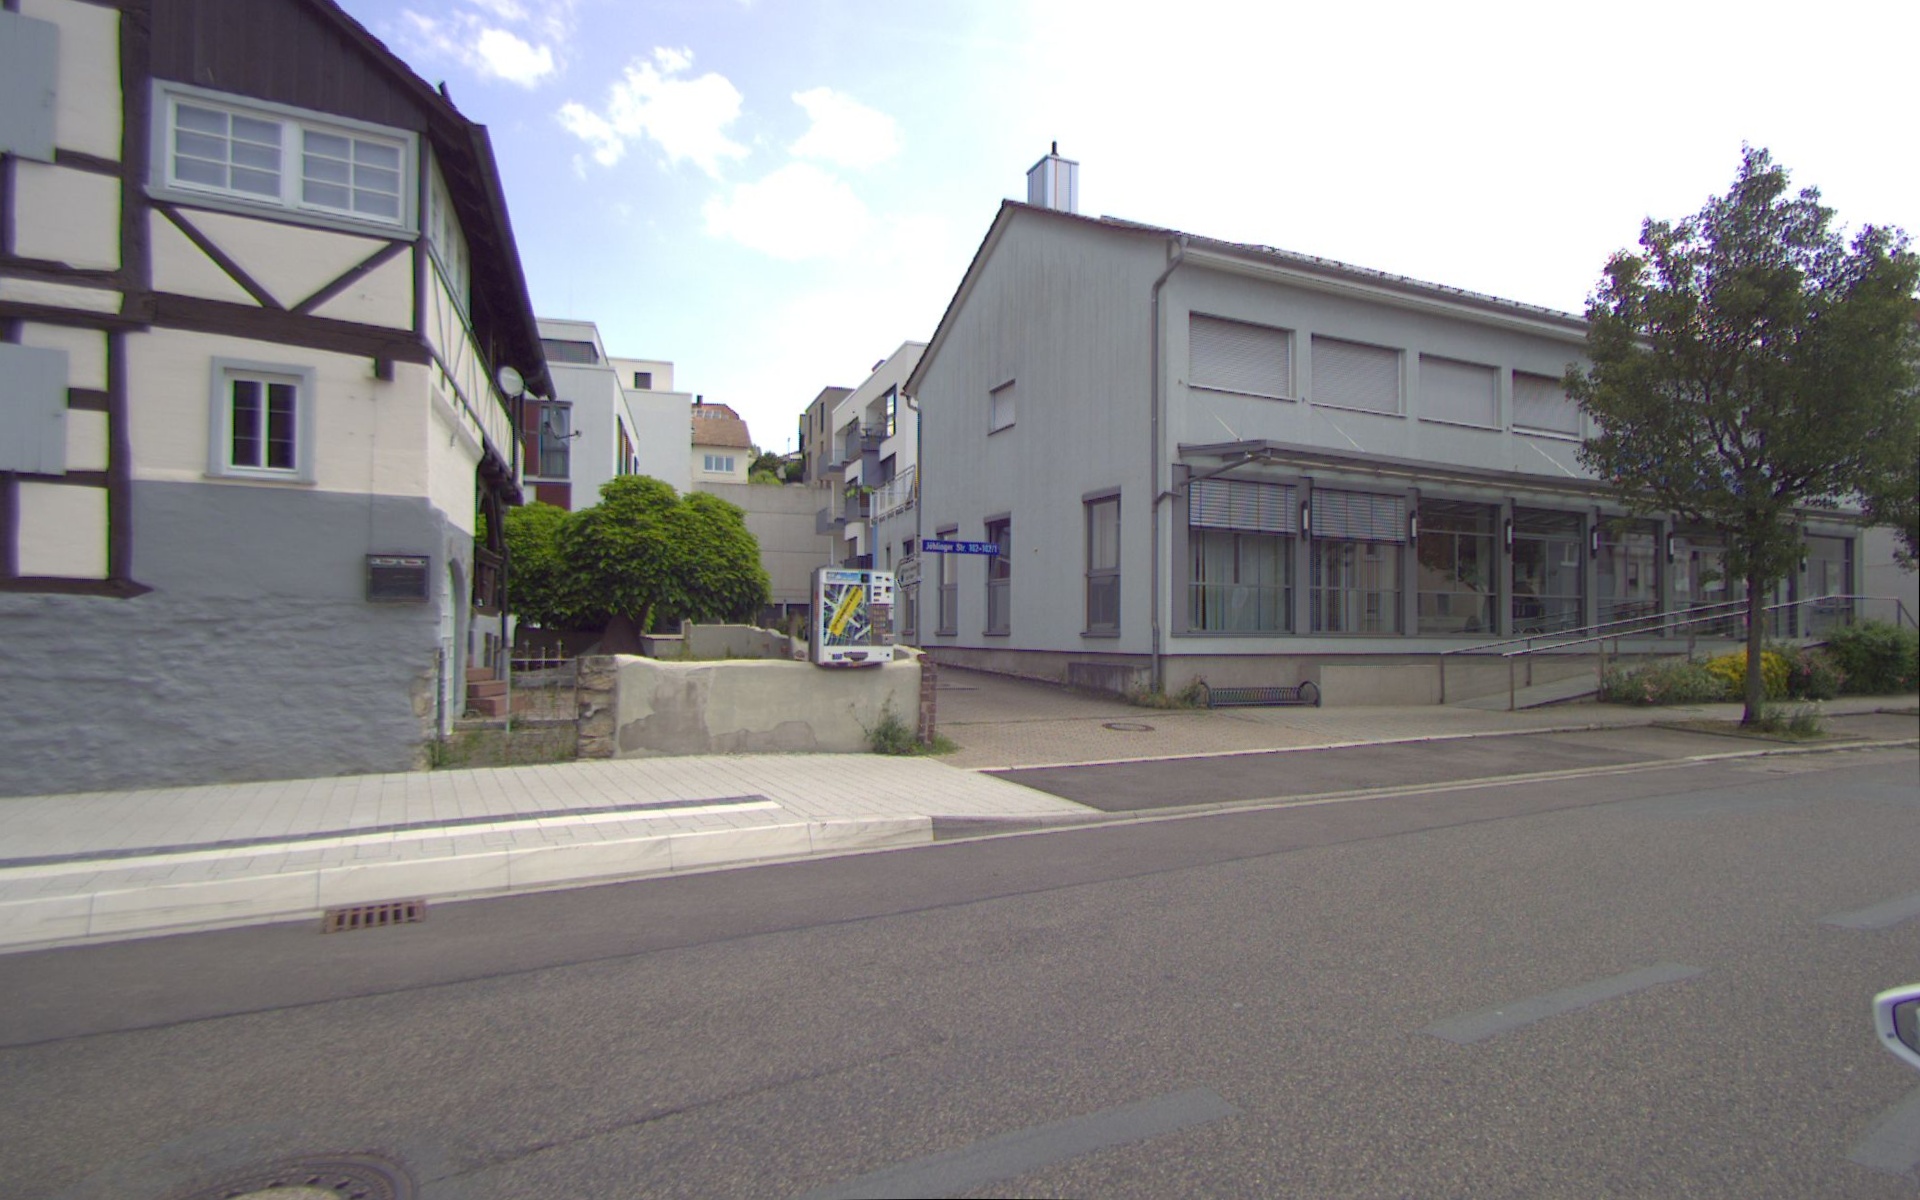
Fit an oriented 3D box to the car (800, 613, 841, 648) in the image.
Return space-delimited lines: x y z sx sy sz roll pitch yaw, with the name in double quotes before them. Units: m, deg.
"car" -5.966 1.262 42.638 1.347 1.375 3.578 1 -1 -14
